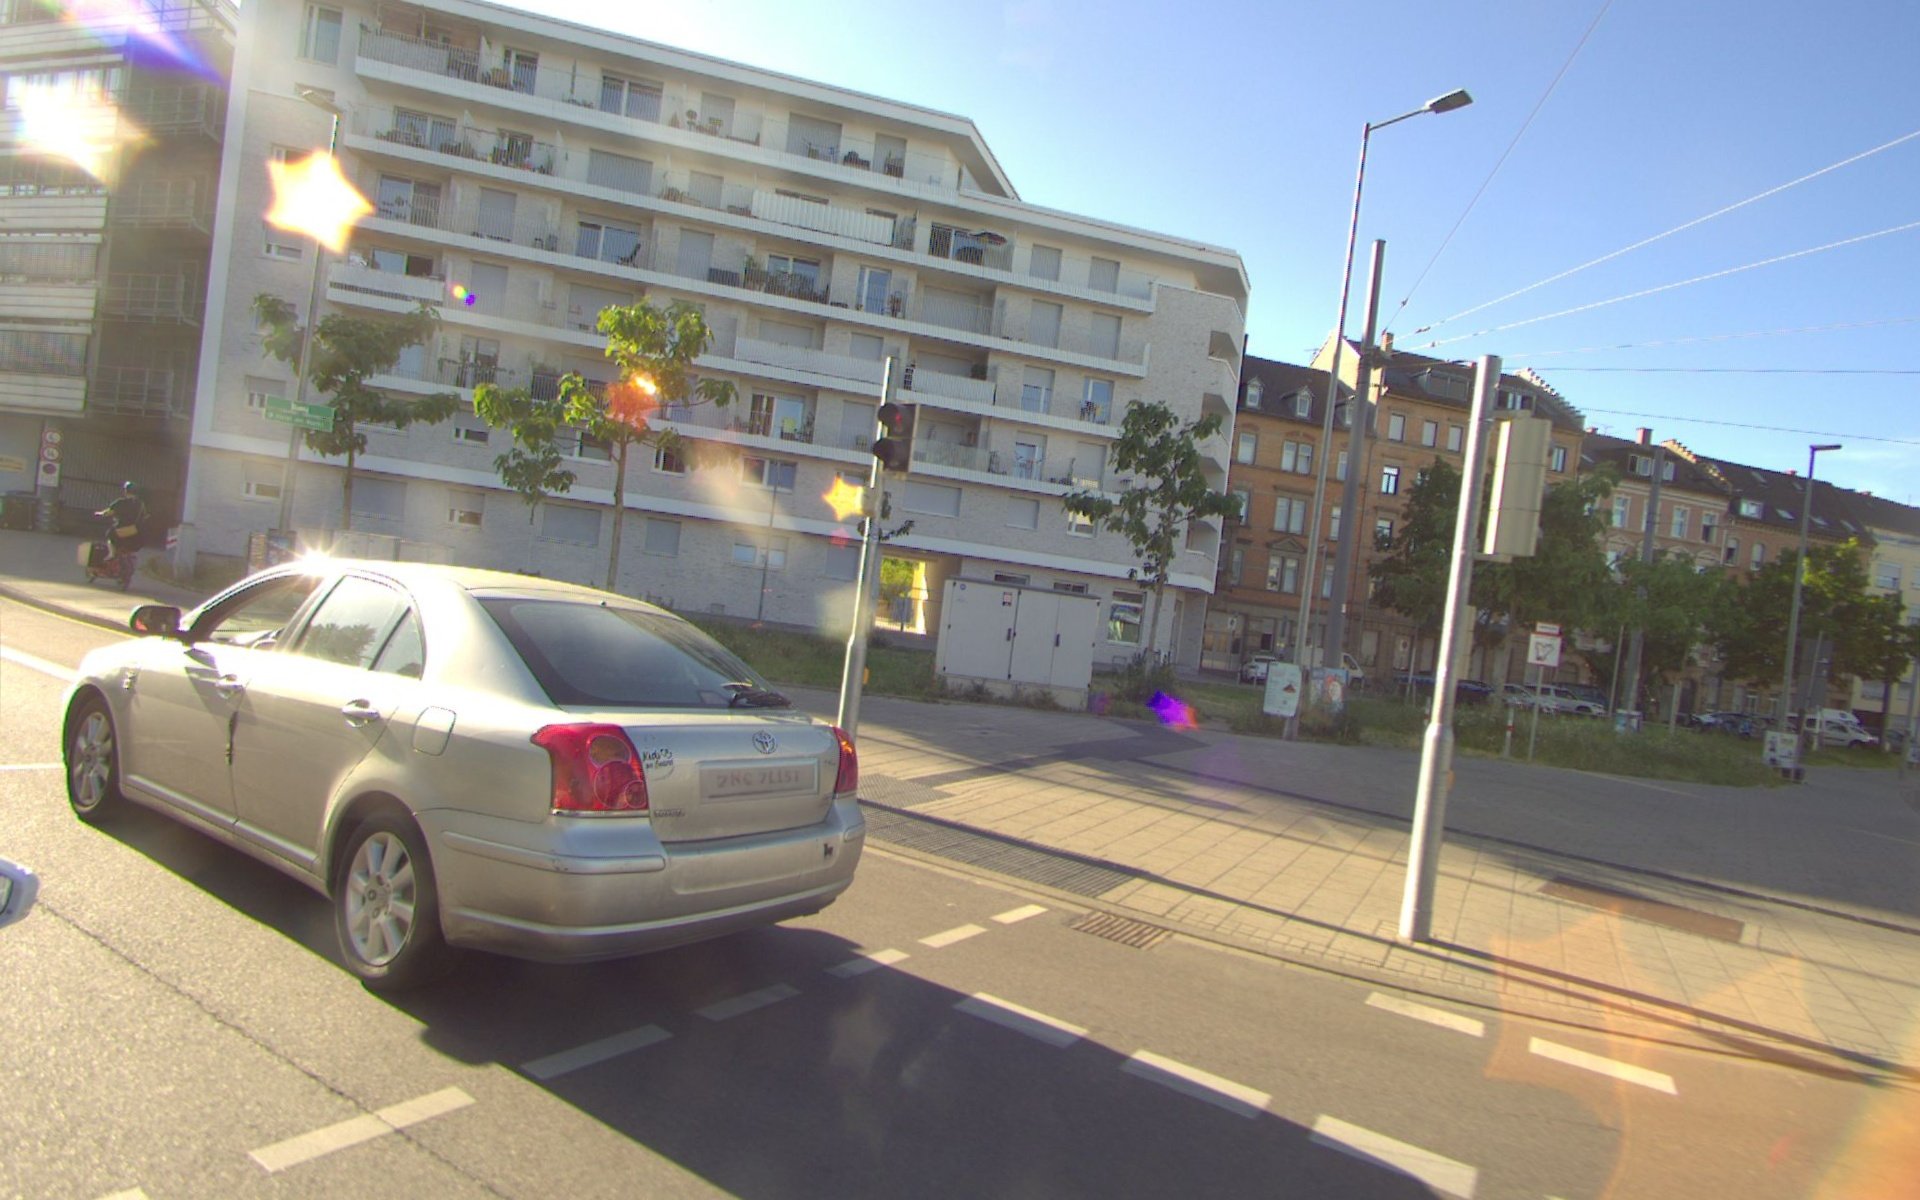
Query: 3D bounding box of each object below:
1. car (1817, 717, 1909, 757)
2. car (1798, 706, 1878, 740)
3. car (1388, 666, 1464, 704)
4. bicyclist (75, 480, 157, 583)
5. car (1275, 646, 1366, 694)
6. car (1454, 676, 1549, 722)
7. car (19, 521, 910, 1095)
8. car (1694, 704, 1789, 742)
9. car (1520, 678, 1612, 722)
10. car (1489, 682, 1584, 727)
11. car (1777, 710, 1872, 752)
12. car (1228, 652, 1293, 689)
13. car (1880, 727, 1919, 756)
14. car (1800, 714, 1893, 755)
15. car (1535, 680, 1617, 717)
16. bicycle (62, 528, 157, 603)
[{"bbox_3d":[54.934,8.335,61.249,1.989,1.737,3.949,7,-1,-45],"label":"car"},{"bbox_3d":[61.148,8.559,70.110,4.194,1.737,1.995,7,-1,-13],"label":"car"},{"bbox_3d":[28.818,5.239,62.351,1.968,1.737,4.252,7,-1,-12],"label":"car"},{"bbox_3d":[-14.144,-1.153,16.854,1.026,1.586,0.625,7,0,31],"label":"bicyclist"},{"bbox_3d":[21.386,4.137,59.724,4.517,2.238,1.997,7,0,-10],"label":"car"},{"bbox_3d":[27.740,5.063,51.582,3.939,1.737,1.994,6,-1,37],"label":"car"},{"bbox_3d":[-2.599,0.576,4.849,4.416,1.448,1.752,6,-1,33],"label":"car"},{"bbox_3d":[44.334,6.954,57.094,3.949,1.504,1.989,6,-1,45],"label":"car"},{"bbox_3d":[32.438,5.333,53.859,3.939,1.737,1.994,6,-1,37],"label":"car"},{"bbox_3d":[30.152,5.456,52.639,3.939,1.737,1.994,6,-1,37],"label":"car"},{"bbox_3d":[50.170,7.591,58.425,1.989,1.737,3.949,7,-1,-45],"label":"car"},{"bbox_3d":[14.789,3.457,49.735,1.963,1.415,4.001,7,-1,2],"label":"car"},{"bbox_3d":[69.524,10.403,72.674,4.199,1.737,1.993,6,-1,39],"label":"car"},{"bbox_3d":[52.727,7.988,59.853,1.989,1.737,3.949,7,-1,-45],"label":"car"},{"bbox_3d":[39.528,6.294,64.573,4.194,1.737,1.995,7,-1,-13],"label":"car"},{"bbox_3d":[-14.337,-0.596,16.939,2.169,1.045,0.499,7,0,32],"label":"bicycle"}]
